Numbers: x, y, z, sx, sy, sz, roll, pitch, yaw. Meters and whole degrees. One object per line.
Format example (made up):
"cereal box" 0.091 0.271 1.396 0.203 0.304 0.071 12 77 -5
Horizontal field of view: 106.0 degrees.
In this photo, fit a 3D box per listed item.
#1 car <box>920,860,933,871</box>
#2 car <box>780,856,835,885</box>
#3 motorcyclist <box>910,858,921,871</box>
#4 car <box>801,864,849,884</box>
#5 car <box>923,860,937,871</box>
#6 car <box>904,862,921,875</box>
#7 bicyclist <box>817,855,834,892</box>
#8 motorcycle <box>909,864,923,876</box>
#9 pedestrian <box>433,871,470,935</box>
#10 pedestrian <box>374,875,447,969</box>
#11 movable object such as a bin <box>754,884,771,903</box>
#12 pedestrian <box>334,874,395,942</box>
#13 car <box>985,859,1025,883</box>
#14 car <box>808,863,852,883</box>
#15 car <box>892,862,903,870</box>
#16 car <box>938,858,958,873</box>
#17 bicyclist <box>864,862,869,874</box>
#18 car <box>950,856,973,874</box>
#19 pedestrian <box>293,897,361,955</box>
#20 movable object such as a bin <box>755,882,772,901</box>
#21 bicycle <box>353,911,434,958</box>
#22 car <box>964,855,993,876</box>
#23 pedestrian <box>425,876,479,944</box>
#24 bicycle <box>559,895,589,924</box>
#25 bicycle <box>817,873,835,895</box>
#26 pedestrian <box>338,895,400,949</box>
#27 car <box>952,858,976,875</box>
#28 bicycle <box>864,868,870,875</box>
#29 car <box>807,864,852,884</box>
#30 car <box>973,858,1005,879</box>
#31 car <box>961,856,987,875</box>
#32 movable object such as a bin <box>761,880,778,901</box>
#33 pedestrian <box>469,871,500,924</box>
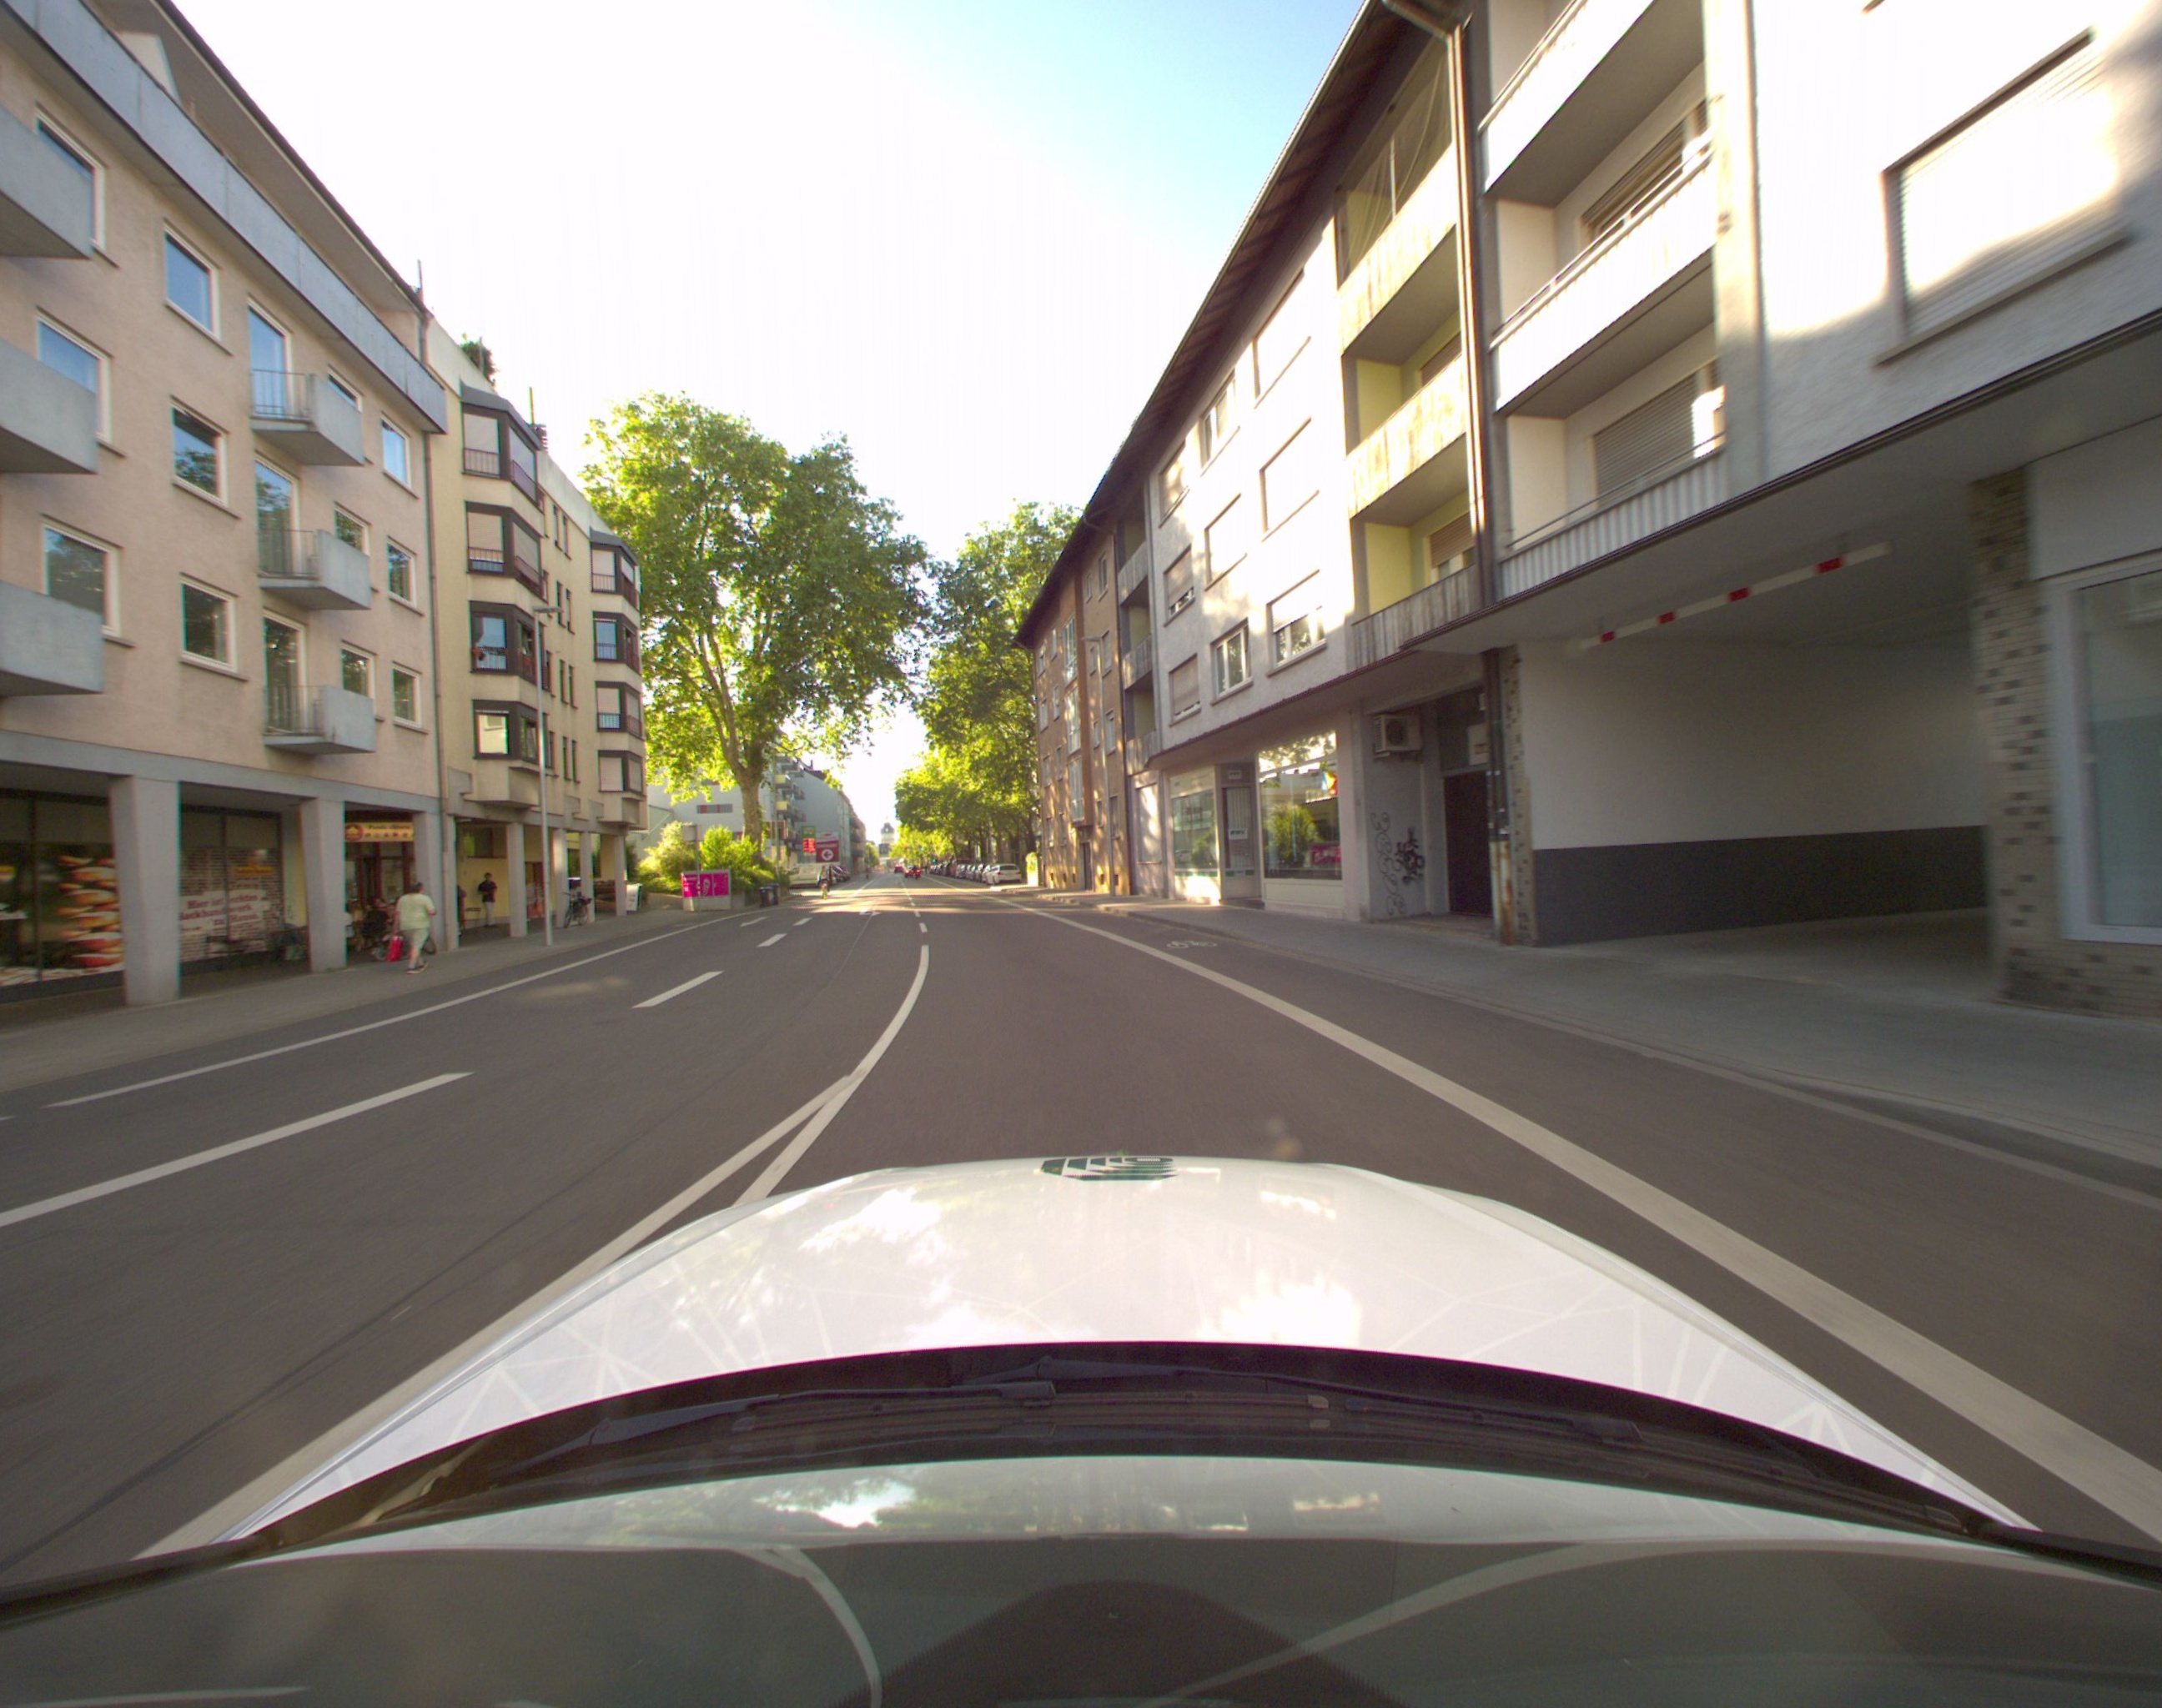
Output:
"car" -26.213 1.915 138.018 2.036 1.742 4.074 -3 0 -14
"car" -23.267 1.410 69.424 4.312 2.225 1.989 -3 0 -17
"motorcyclist" -17.537 1.155 86.450 0.974 1.347 1.129 -1 0 -22
"car" -23.391 1.852 74.563 3.995 1.596 1.989 -3 0 -16
"car" -24.227 1.813 130.713 2.036 1.742 4.074 -3 0 -14
"car" -20.783 1.775 100.356 1.925 1.388 3.983 -2 0 -12
"bicyclist" -13.850 1.063 44.170 0.818 1.947 0.852 -2 0 -18
"motorcycle" -17.525 1.683 86.460 0.977 1.131 2.784 -1 0 -22
"pedestrian" -18.332 1.409 23.728 0.615 1.795 0.652 -2 -1 -17
"pedestrian" -12.929 1.291 15.730 0.807 1.724 0.772 -2 -1 -17
"movable object such as a bin" -15.147 1.869 38.710 0.687 0.852 0.577 0 0 -14
"pedestrian" -18.966 1.407 21.576 0.829 1.724 0.854 -2 -1 -1
"car" -5.195 1.127 55.197 2.036 1.504 4.074 -3 0 -14
"car" -24.628 1.850 80.127 3.995 1.743 1.989 -3 0 -16
"car" -38.892 2.528 172.403 2.036 1.742 4.074 -3 0 -14
"car" -16.649 1.387 101.807 2.036 1.742 4.074 -3 0 -14
"bicyclist" -26.200 1.693 99.457 0.543 1.393 0.505 -3 0 -19
"car" -13.340 1.210 90.787 2.036 1.934 4.074 -3 0 -14
"pedestrian" -17.895 1.702 19.356 0.833 1.265 0.851 -2 0 -12
"movable object such as a bin" -15.321 1.796 39.303 0.687 0.907 0.577 0 0 -14
"bicycle" -15.475 1.793 18.374 0.633 0.884 1.611 -3 0 -10
"car" -9.081 1.019 72.017 2.036 1.759 4.074 -3 0 -14
"pedestrian" -16.685 1.457 21.620 0.854 1.724 0.830 -2 -1 -17
"bicycle" -17.101 1.868 27.499 0.390 0.878 1.604 1 -1 -14
"bicycle" -13.819 1.608 44.139 0.817 1.139 2.324 -3 0 -17
"pedestrian" -17.994 1.700 20.607 0.833 1.265 0.851 -2 0 -12
"car" -12.461 1.328 86.646 2.036 1.719 4.074 -3 0 -14
"bicycle" -26.173 2.164 99.436 0.543 0.843 1.594 -3 0 -19
"car" -23.946 1.885 77.625 3.995 1.596 1.989 -3 0 -16
"car" -7.520 1.167 66.349 2.036 1.617 4.074 -3 0 -14
"car" -10.300 1.103 78.009 2.036 1.719 4.074 -3 0 -14
"movable object such as a bin" -15.421 1.809 40.353 0.704 0.965 0.594 0 0 -14
"pedestrian" -19.712 1.421 26.909 0.582 1.724 0.621 -2 -1 -13
